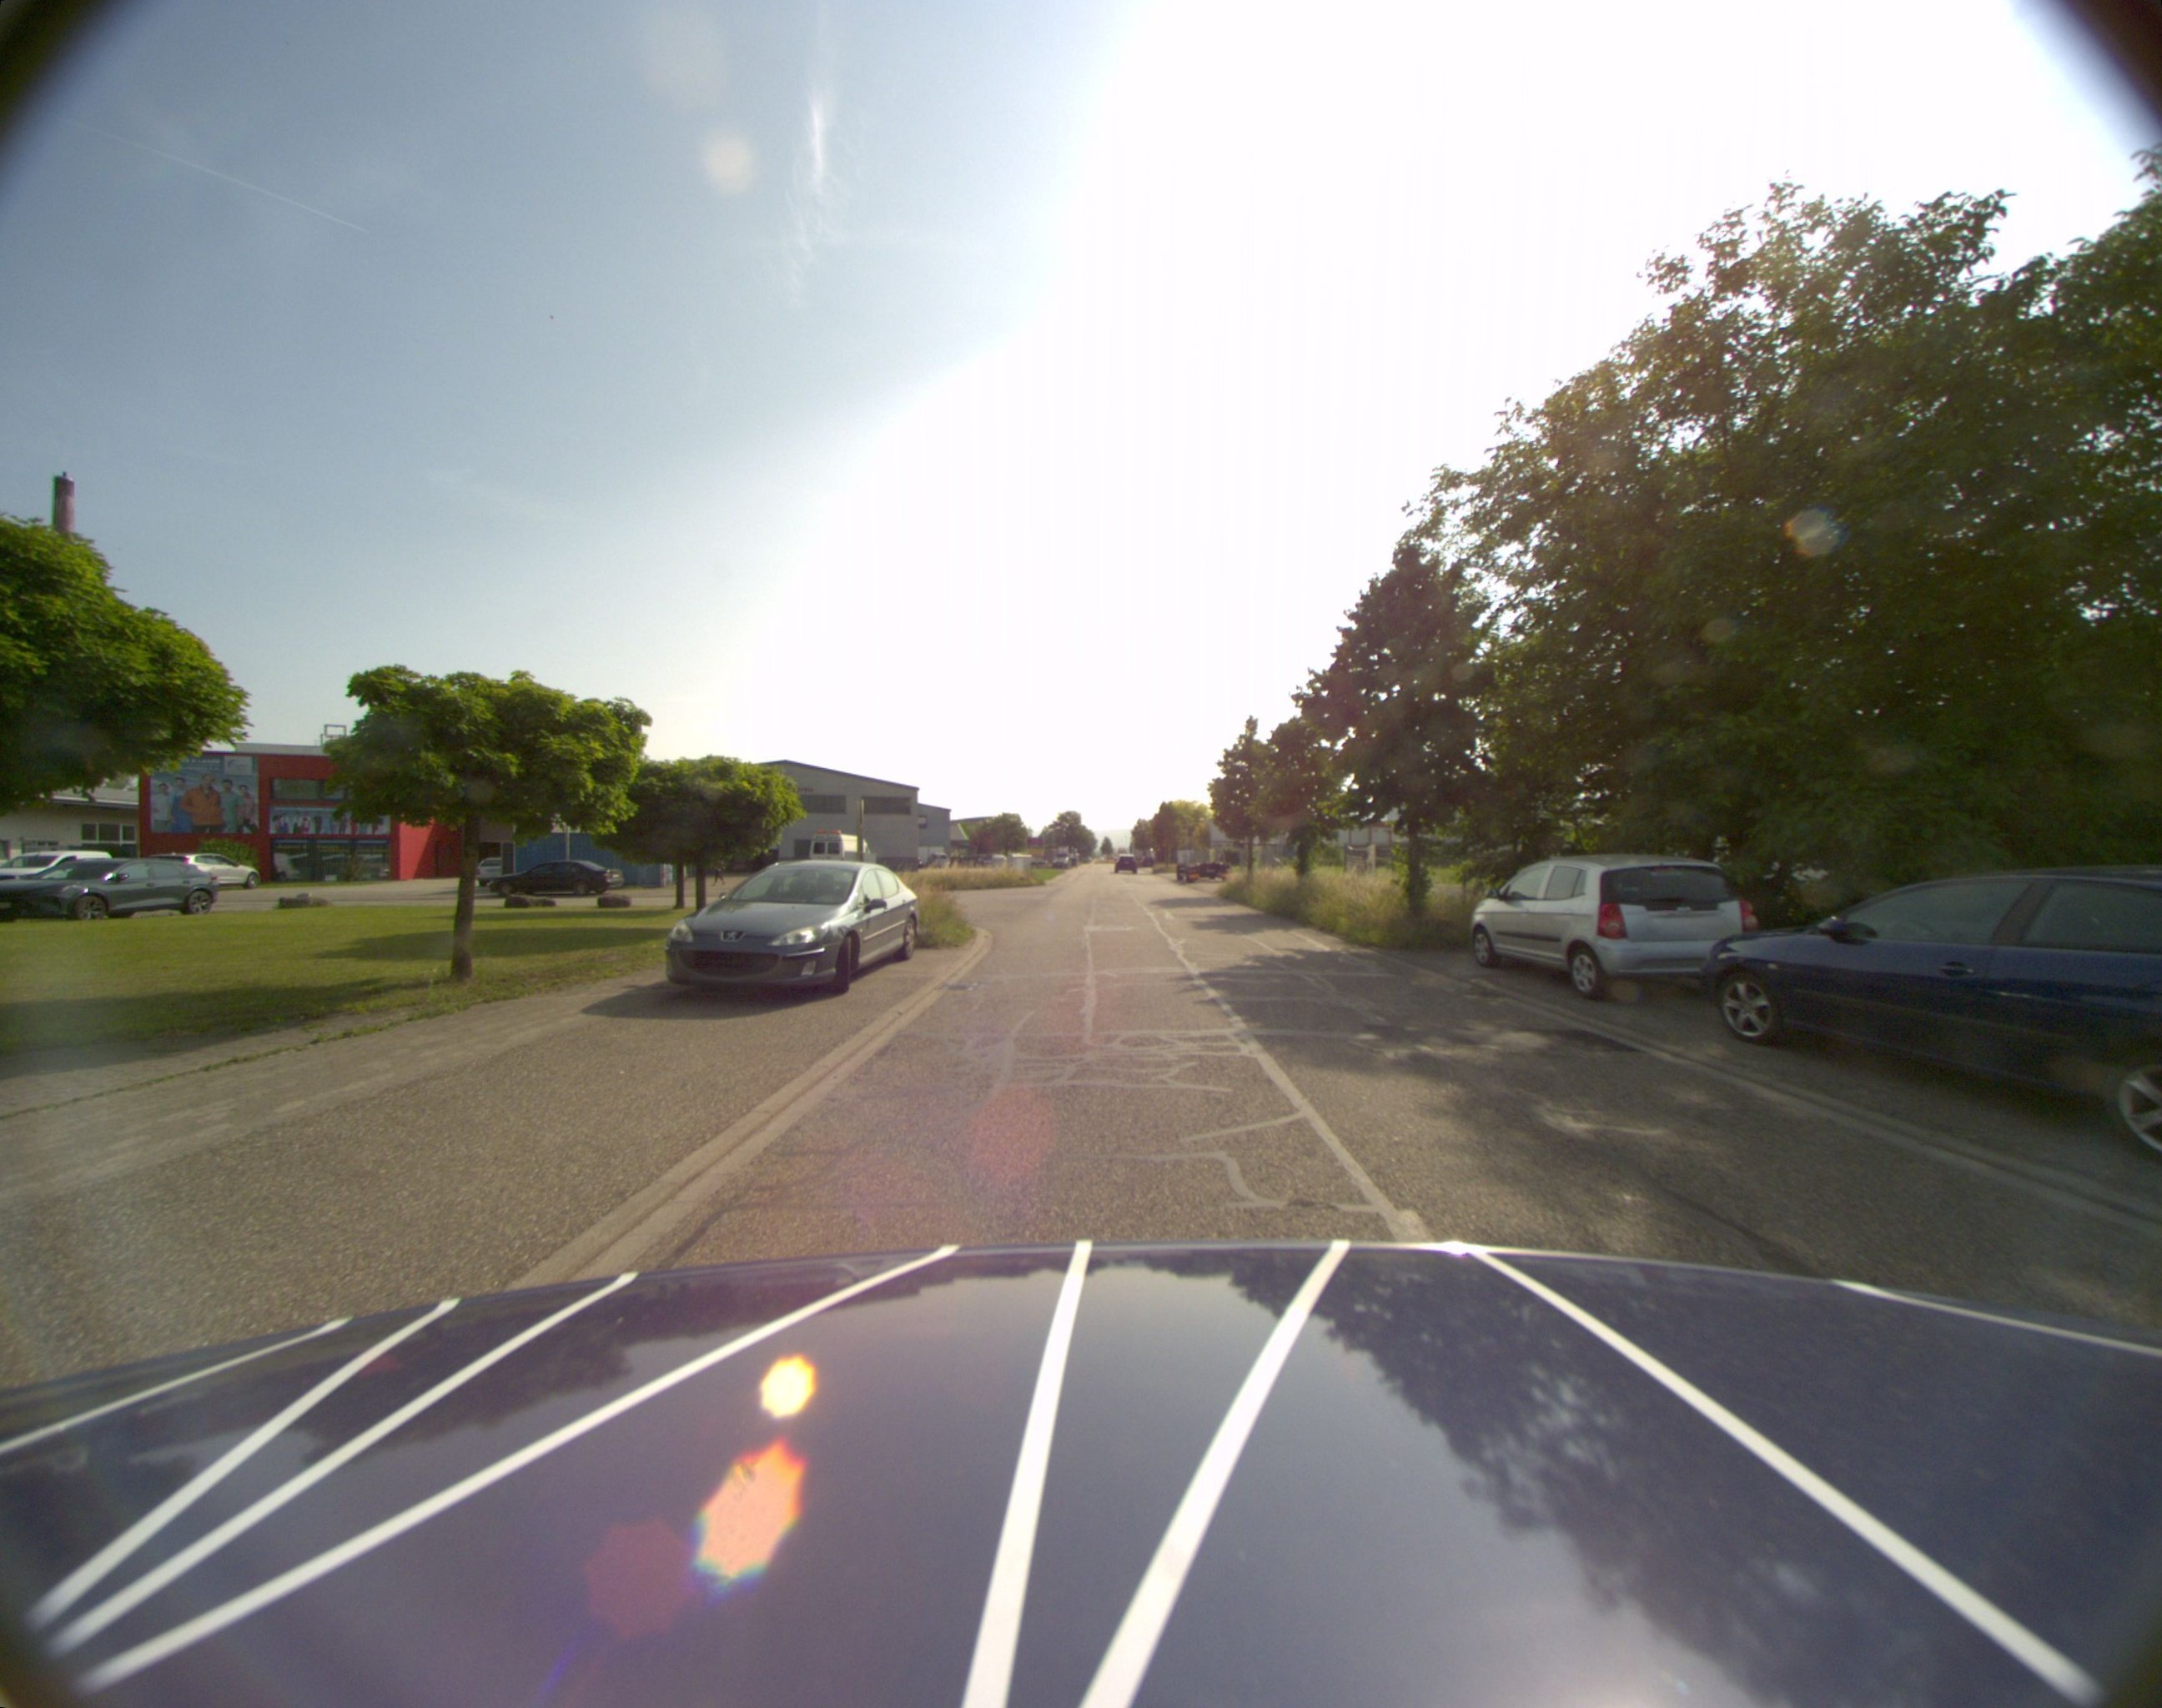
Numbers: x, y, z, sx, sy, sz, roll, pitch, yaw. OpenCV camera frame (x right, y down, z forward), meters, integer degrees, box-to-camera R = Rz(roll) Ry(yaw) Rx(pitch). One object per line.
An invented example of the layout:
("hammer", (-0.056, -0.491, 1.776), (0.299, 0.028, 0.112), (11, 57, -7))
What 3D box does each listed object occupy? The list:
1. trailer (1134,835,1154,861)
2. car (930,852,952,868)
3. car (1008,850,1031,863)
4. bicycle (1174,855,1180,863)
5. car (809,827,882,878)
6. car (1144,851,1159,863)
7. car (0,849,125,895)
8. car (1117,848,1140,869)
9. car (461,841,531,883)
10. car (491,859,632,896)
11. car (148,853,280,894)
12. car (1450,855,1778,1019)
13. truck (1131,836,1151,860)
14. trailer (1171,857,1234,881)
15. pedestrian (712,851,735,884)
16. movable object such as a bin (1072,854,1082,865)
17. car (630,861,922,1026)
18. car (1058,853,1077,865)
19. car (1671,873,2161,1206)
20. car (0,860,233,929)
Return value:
("trailer", (9.749, -0.919, 118.693), (2.706, 3.862, 9.766), (-1, 0, 3))
("car", (-14.283, 0.602, 77.233), (1.641, 1.559, 3.799), (0, 0, -20))
("car", (-7.846, 0.320, 96.395), (1.723, 1.563, 4.125), (0, 0, -22))
("bicycle", (12.469, 0.666, 98.489), (0.563, 0.967, 2.452), (0, 0, 1))
("car", (-13.239, -0.087, 43.170), (1.978, 2.690, 5.881), (0, 0, 3))
("car", (9.136, 0.378, 98.847), (1.691, 1.461, 4.094), (0, 0, 3))
("car", (-42.764, 0.686, 31.575), (1.717, 1.787, 4.200), (0, 0, -18))
("car", (4.168, 0.389, 67.324), (1.860, 1.705, 4.226), (1, 0, 1))
("car", (-29.806, 0.361, 38.849), (2.003, 2.002, 3.991), (0, 1, -25))
("car", (-21.488, 0.957, 31.599), (4.472, 1.401, 1.809), (0, 2, -6))
("car", (-37.891, 0.791, 33.396), (1.788, 1.623, 4.459), (0, 0, -18))
("car", (6.051, 0.813, 9.199), (1.570, 1.529, 3.689), (-2, 0, 4))
("truck", (10.056, -0.972, 128.340), (2.719, 3.862, 9.635), (-1, 0, 1))
("trailer", (7.260, 0.827, 46.730), (2.589, 1.177, 9.363), (-2, 0, 1))
("pedestrian", (-17.879, 0.679, 38.037), (0.703, 1.630, 0.750), (0, 1, 17))
("movable object such as a bin", (-0.442, 0.639, 94.413), (1.083, 1.345, 1.506), (2, 1, 4))
("car", (-3.398, 0.882, 9.518), (1.798, 1.508, 4.424), (0, 0, 1))
("car", (-1.530, 0.524, 89.543), (1.677, 1.361, 4.395), (0, 0, 6))
("car", (5.970, 0.923, 4.795), (1.582, 1.435, 3.964), (-2, 0, 3))
("car", (-23.393, 0.870, 18.255), (1.787, 1.401, 4.342), (0, 0, -12))
